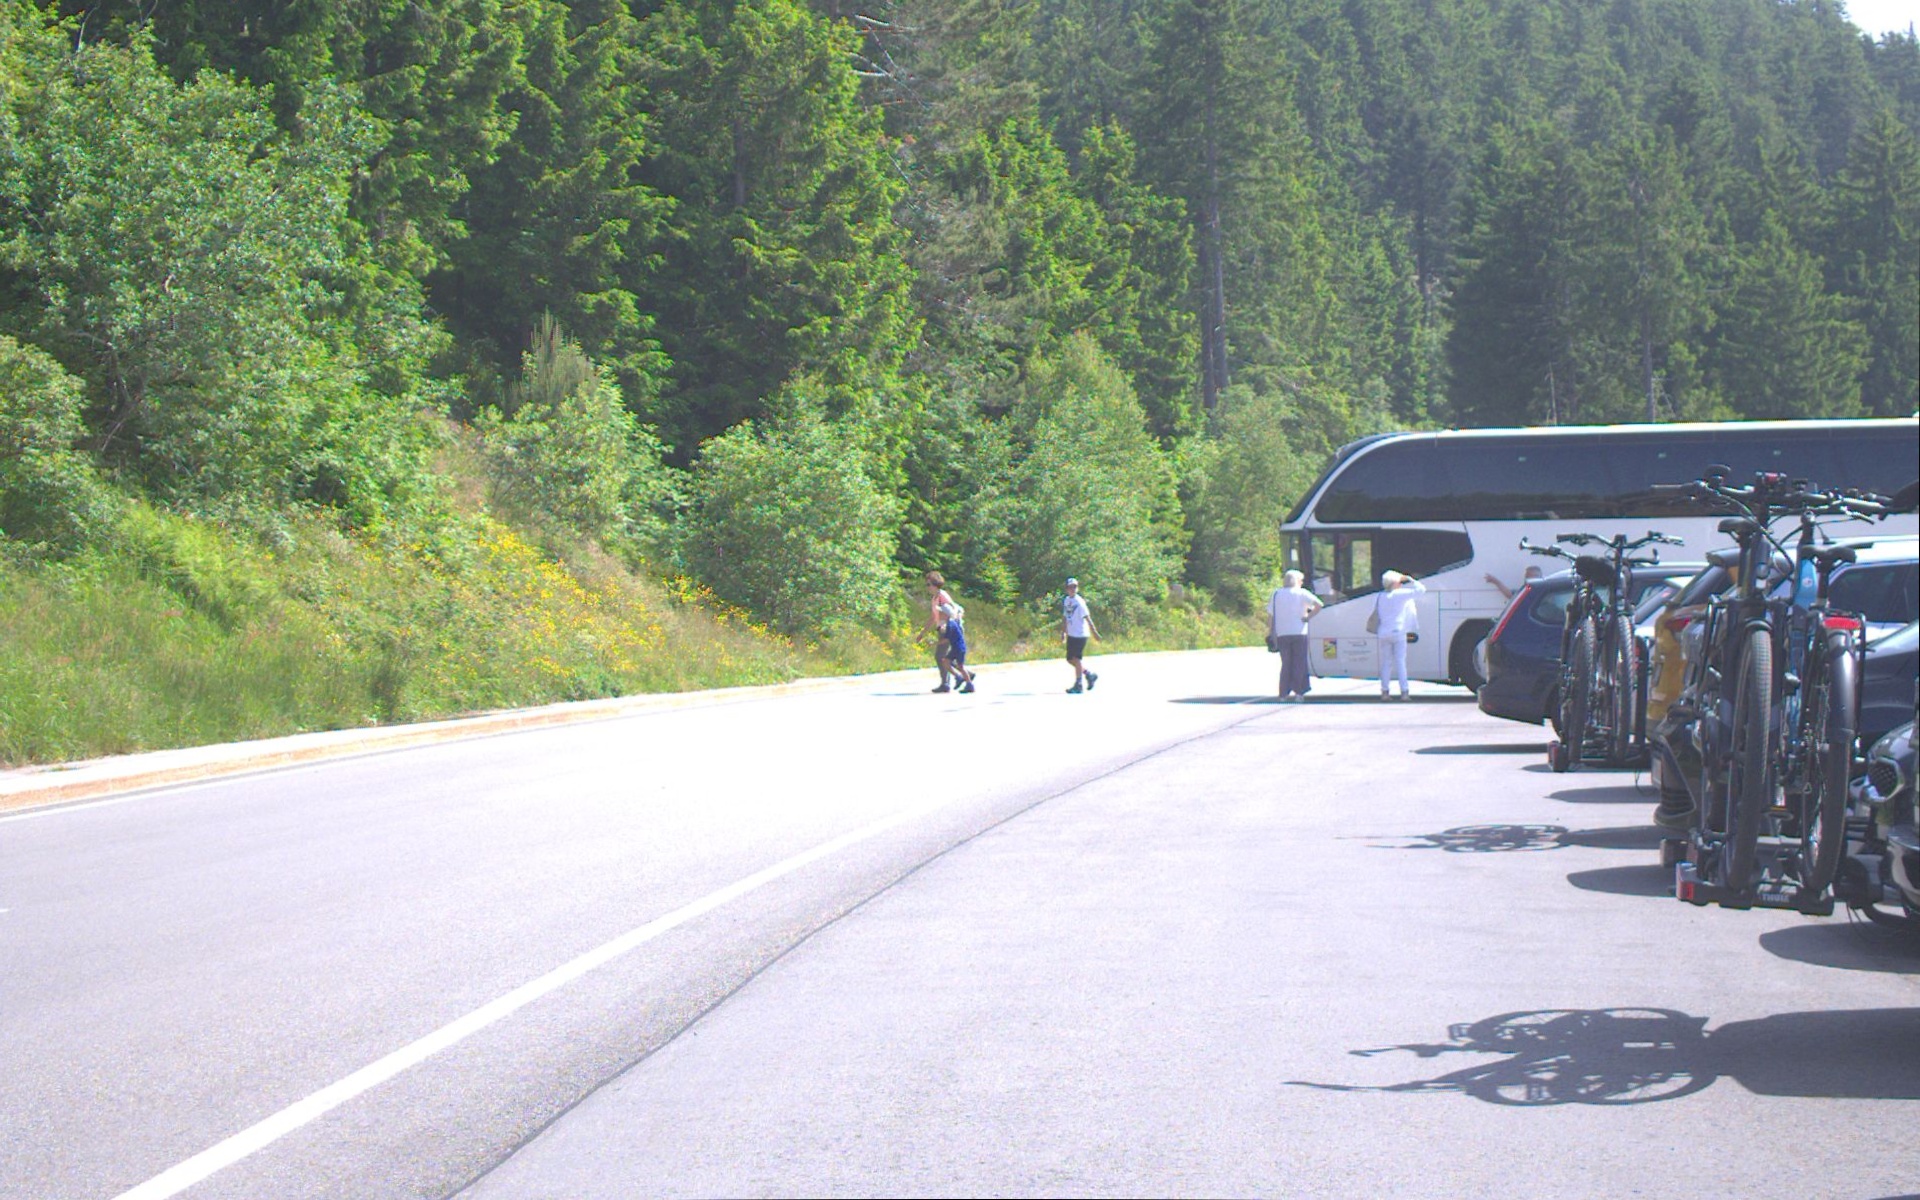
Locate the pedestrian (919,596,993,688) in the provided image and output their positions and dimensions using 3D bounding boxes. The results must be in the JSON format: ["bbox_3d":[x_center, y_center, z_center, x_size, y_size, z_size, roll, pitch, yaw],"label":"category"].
[{"bbox_3d":[-0.062,0.592,48.654,0.733,1.275,0.783,-2,0,-26],"label":"pedestrian"}]

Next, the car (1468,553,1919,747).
[{"bbox_3d":[6.265,0.394,28.459,3.988,1.444,1.861,-2,0,7],"label":"car"}]

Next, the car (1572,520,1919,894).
[{"bbox_3d":[4.955,0.402,15.297,4.245,1.548,1.838,-2,0,7],"label":"car"}]

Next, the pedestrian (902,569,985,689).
[{"bbox_3d":[-0.240,0.414,49.578,0.853,1.677,0.870,-2,0,-25],"label":"pedestrian"}]

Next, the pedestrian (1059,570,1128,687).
[{"bbox_3d":[1.848,0.390,47.725,0.853,1.579,0.818,-2,0,-2],"label":"pedestrian"}]

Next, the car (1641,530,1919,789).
[{"bbox_3d":[6.423,0.320,21.747,3.988,1.548,1.659,-2,0,7],"label":"car"}]

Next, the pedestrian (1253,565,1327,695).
[{"bbox_3d":[4.113,0.373,42.847,0.771,1.579,0.772,-2,0,13],"label":"pedestrian"}]

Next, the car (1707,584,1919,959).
[{"bbox_3d":[5.015,0.541,12.621,4.245,1.264,1.838,-2,0,7],"label":"car"}]

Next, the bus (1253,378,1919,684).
[{"bbox_3d":[10.496,-0.900,43.425,13.103,3.520,3.041,-2,0,17],"label":"bus"}]

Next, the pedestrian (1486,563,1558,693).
[{"bbox_3d":[6.969,0.342,42.617,0.770,1.579,0.772,-2,0,15],"label":"pedestrian"}]

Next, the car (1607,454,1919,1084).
[{"bbox_3d":[4.430,0.402,9.903,4.950,1.690,1.944,-1,1,9],"label":"car"}]

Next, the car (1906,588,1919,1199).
[{"bbox_3d":[4.202,0.697,6.970,4.081,1.372,1.702,1,0,1],"label":"car"}]

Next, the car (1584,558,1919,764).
[{"bbox_3d":[6.682,0.408,25.263,3.988,1.393,1.620,-2,0,7],"label":"car"}]

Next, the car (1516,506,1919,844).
[{"bbox_3d":[5.541,0.320,18.086,5.035,1.645,2.047,-2,0,7],"label":"car"}]

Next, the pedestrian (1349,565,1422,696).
[{"bbox_3d":[5.272,0.375,42.541,0.771,1.579,0.772,-2,0,13],"label":"pedestrian"}]
